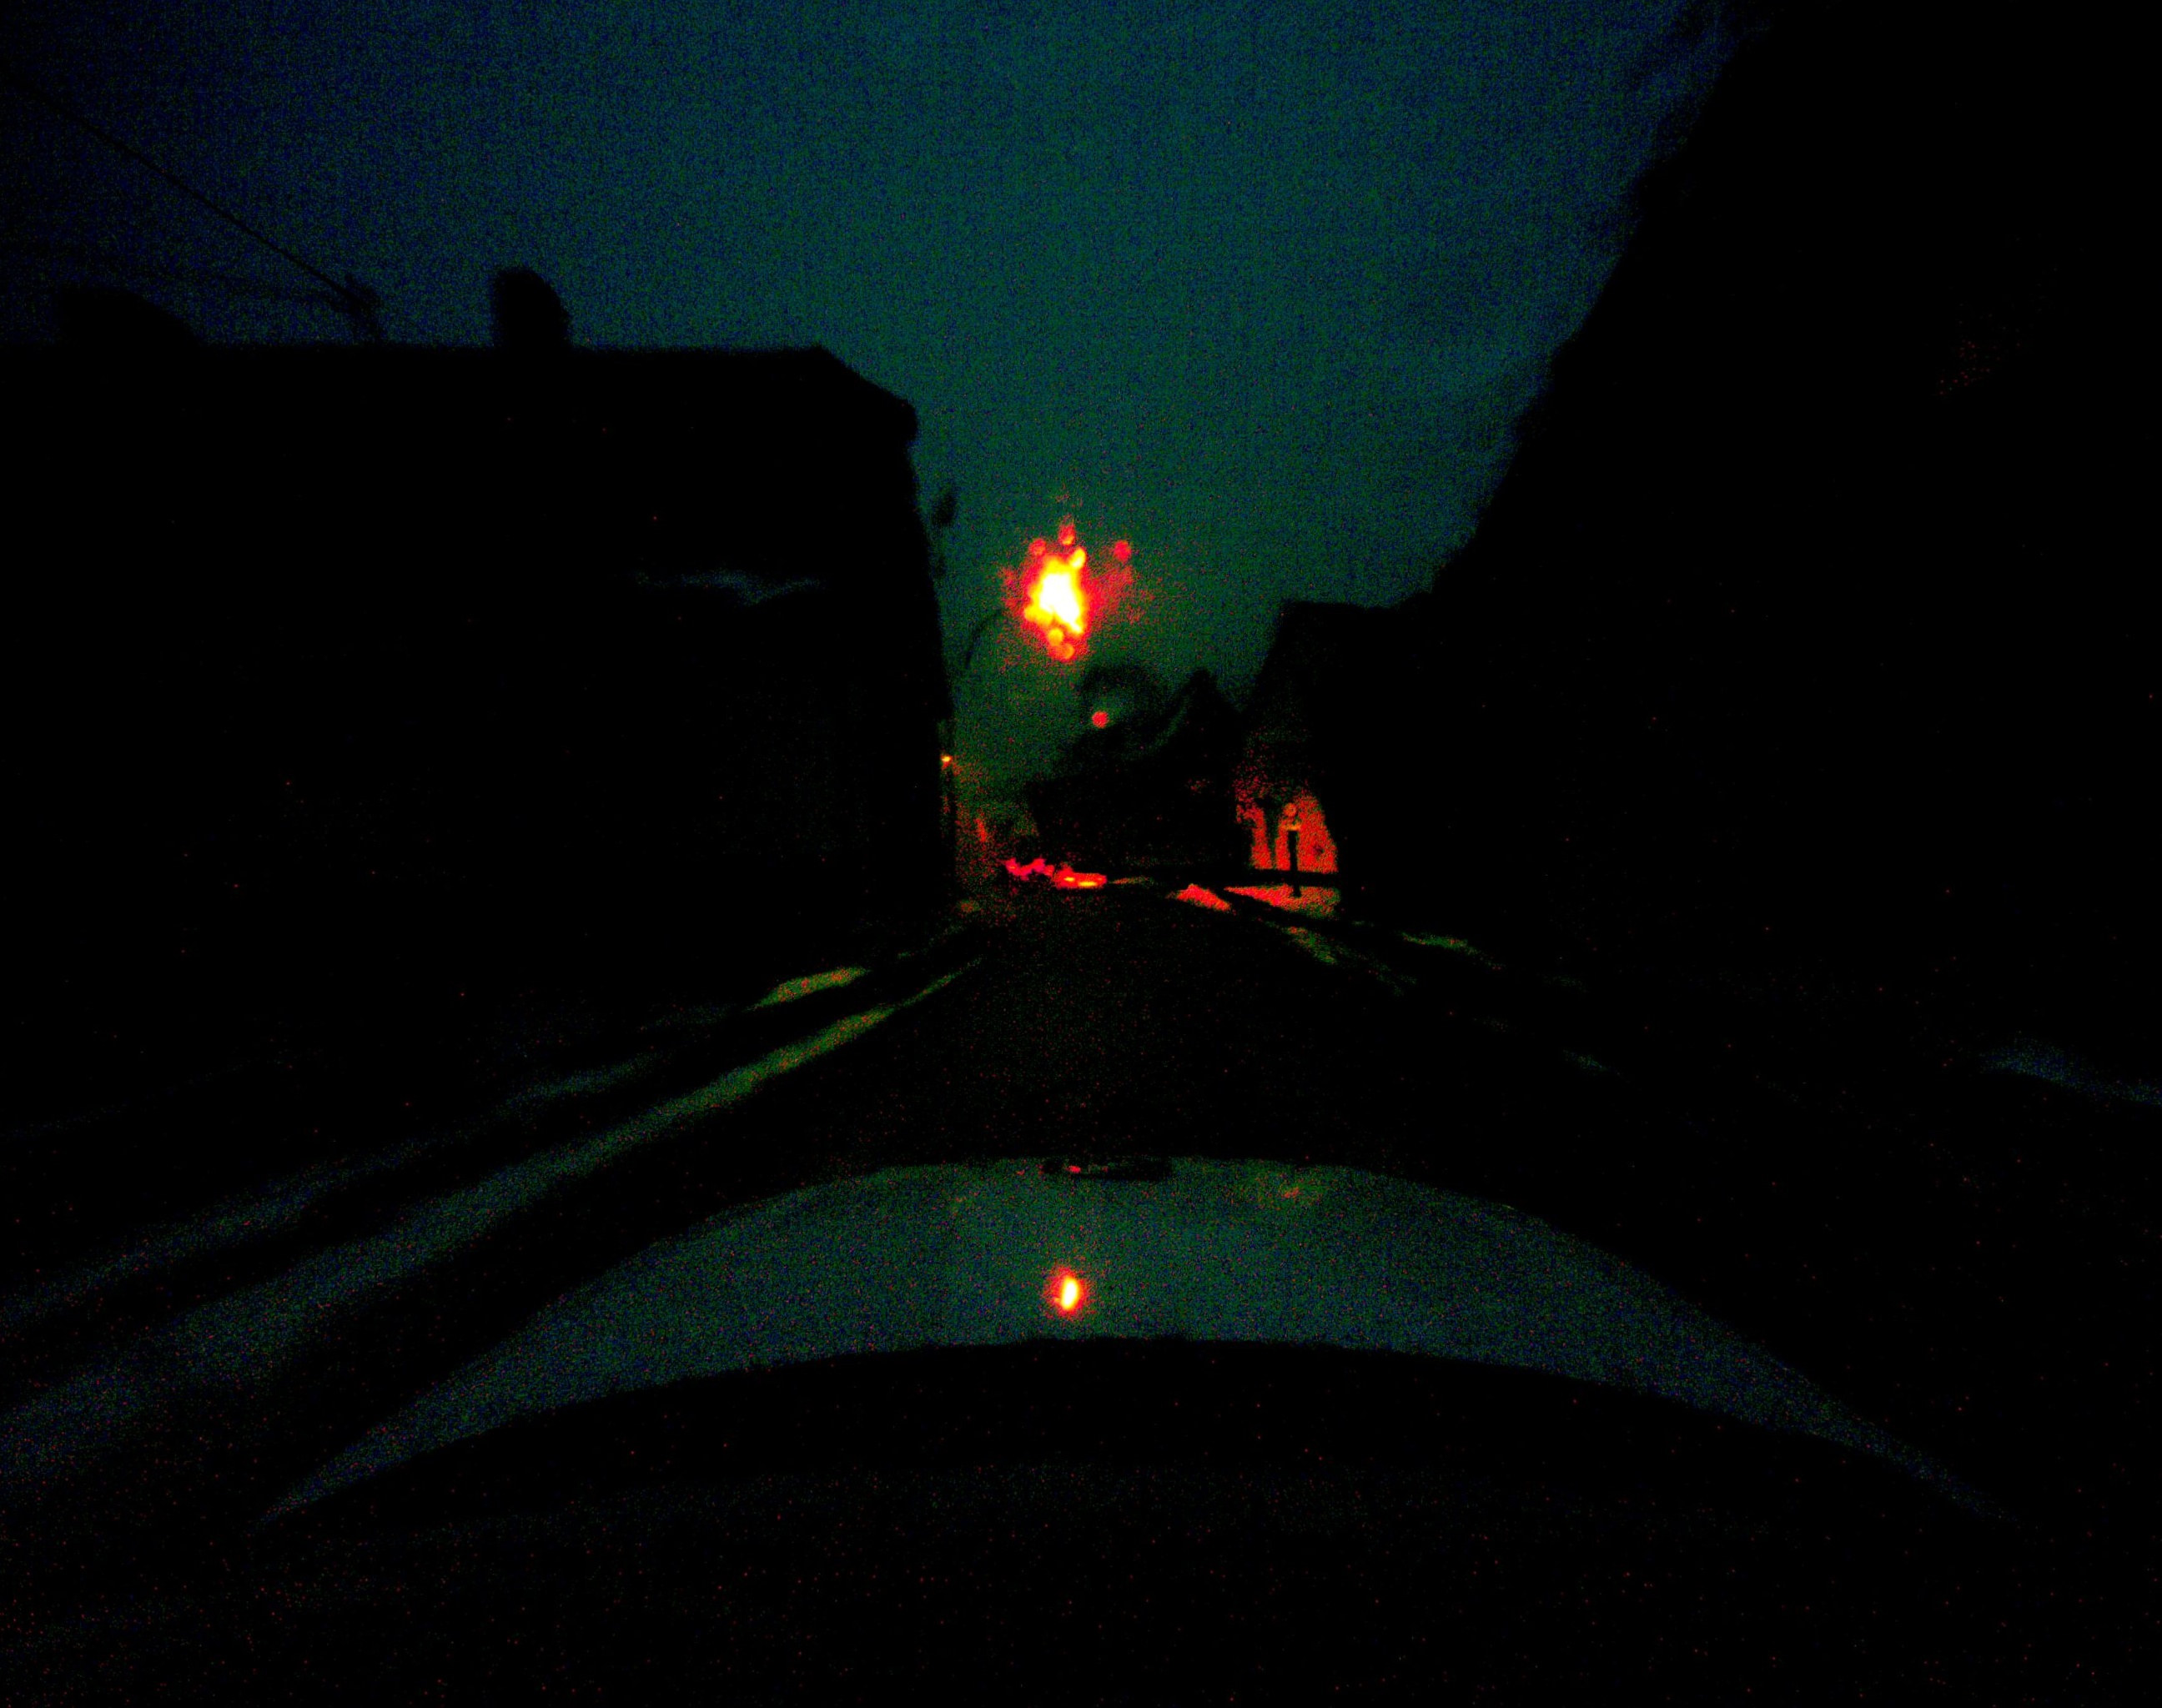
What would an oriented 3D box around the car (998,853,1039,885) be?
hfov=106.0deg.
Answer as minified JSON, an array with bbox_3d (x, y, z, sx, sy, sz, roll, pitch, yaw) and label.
[{"bbox_3d":[-3.603,0.883,46.513,1.993,1.728,3.986,0,-2,-10],"label":"car"}]

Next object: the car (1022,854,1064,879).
[{"bbox_3d":[-2.526,0.804,53.025,1.913,1.481,4.261,-2,0,-14],"label":"car"}]

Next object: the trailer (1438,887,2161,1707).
[{"bbox_3d":[2.899,0.888,2.419,1.984,1.388,4.738,0,0,5],"label":"trailer"}]

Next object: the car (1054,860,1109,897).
[{"bbox_3d":[-0.048,1.031,34.661,1.991,1.508,3.992,0,-2,-6],"label":"car"}]
